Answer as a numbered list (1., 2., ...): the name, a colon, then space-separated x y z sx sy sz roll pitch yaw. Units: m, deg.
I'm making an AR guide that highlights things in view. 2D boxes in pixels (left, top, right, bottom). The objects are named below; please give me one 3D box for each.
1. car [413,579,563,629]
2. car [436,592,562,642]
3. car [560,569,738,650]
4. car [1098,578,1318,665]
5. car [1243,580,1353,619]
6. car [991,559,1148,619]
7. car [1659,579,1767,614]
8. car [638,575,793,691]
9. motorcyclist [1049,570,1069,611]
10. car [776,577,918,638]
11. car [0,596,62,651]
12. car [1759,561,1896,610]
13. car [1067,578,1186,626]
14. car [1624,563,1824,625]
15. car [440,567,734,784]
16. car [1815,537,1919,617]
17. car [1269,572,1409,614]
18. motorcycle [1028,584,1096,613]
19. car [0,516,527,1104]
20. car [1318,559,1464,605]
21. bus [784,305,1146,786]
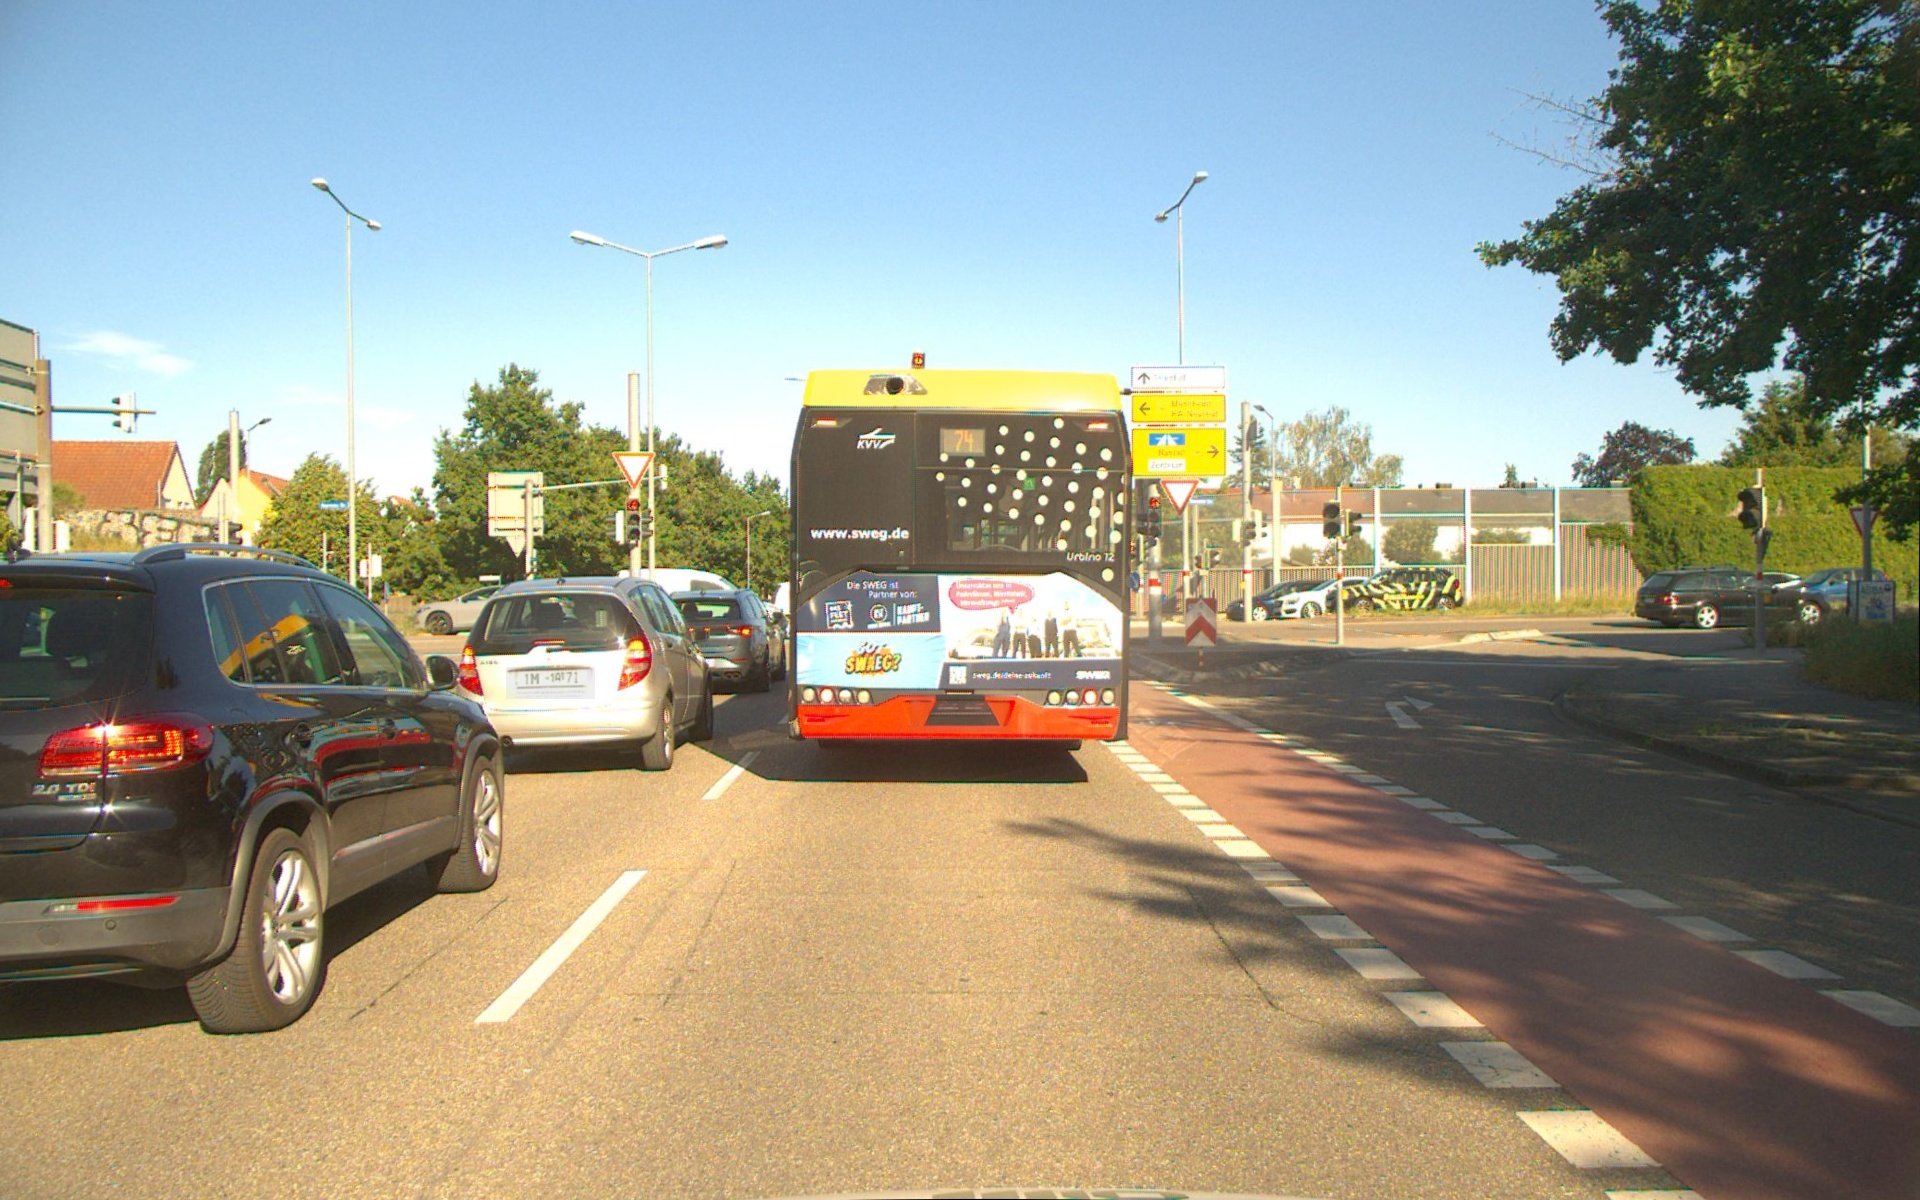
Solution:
1. car: -14.504 0.141 51.033 4.336 1.485 1.570 1 -1 -12
2. car: -15.835 0.563 56.967 3.910 1.640 1.693 -1 0 -7
3. car: -7.278 0.216 39.032 4.034 1.832 1.455 -1 0 -8
4. car: 4.045 0.341 27.109 3.447 1.325 1.576 -1 1 8
5. car: 11.725 -0.037 57.502 3.453 1.325 1.573 0 0 -4
6. car: 3.010 -0.283 46.062 4.139 1.590 1.761 1 -1 -5
7. car: 28.520 -0.138 62.716 3.511 1.287 1.353 0 0 -3
8. car: -3.435 0.445 23.815 1.555 1.511 3.683 -1 0 2
9. motorcyclist: 3.211 -0.299 53.562 0.573 1.295 0.426 -1 0 -6
10. car: -2.978 0.197 43.234 3.600 1.511 1.591 -1 0 -7
11. car: -25.949 0.607 43.431 3.775 1.409 1.679 1 -1 -9
12. car: 29.719 -0.480 56.699 3.911 1.580 1.693 1 -1 -8
13. car: 5.843 0.070 58.264 3.910 1.640 1.693 -1 0 -7
14. car: 19.514 -0.173 42.331 4.374 1.466 1.681 -1 1 -5
15. car: -3.201 0.554 14.985 1.718 1.648 4.034 0 2 0
16. car: 16.631 -0.367 28.764 3.355 1.318 1.448 1 -1 -26
17. car: 12.371 -0.229 54.162 4.204 1.325 1.573 0 0 -4
18. motorcycle: 3.305 -0.046 53.568 2.147 0.889 0.451 -2 0 -6
19. car: -3.199 0.649 6.838 1.784 1.703 4.002 -2 0 -1
20. car: 13.189 -0.530 50.724 4.077 1.325 1.573 1 -1 -4
21. bus: -0.043 -0.437 17.752 2.543 3.393 11.982 1 0 -1
